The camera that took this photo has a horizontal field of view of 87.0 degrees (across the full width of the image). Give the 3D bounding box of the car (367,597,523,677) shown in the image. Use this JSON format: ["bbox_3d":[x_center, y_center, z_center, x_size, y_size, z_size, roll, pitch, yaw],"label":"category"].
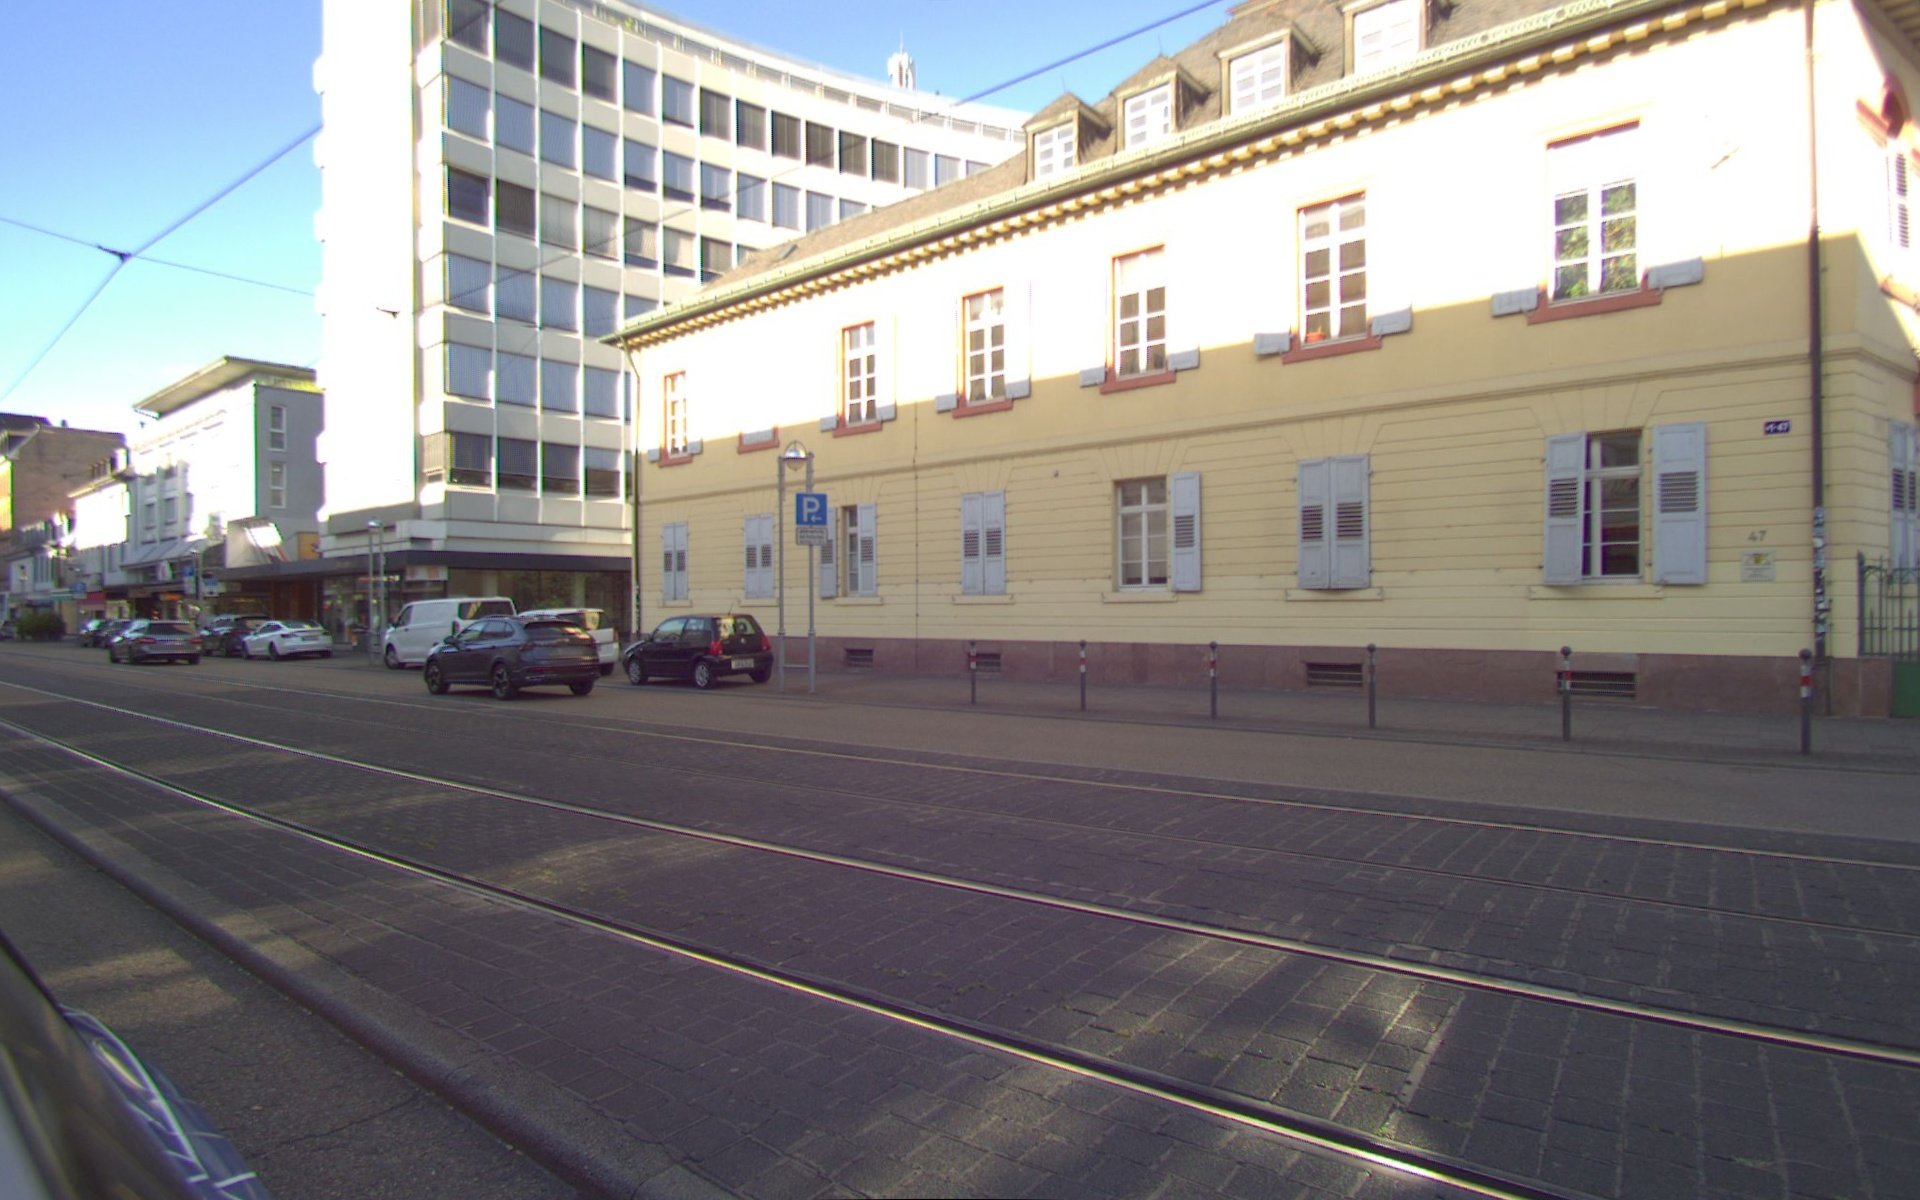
[{"bbox_3d":[-14.555,0.980,28.462,5.091,1.990,1.974,-1,1,39],"label":"car"}]

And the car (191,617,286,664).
[{"bbox_3d":[-28.858,1.557,40.439,4.651,1.691,1.959,-1,1,40],"label":"car"}]

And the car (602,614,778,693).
[{"bbox_3d":[-5.591,1.036,20.810,3.716,1.411,1.598,-1,1,39],"label":"car"}]

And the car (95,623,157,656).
[{"bbox_3d":[-42.546,1.997,51.606,3.583,1.535,1.586,-1,1,37],"label":"car"}]

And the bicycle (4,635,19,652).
[{"bbox_3d":[-64.292,2.948,68.580,1.714,1.098,0.513,-1,1,40],"label":"bicycle"}]

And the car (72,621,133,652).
[{"bbox_3d":[-47.142,1.954,55.622,4.848,1.535,1.720,-1,2,40],"label":"car"}]

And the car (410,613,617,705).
[{"bbox_3d":[-8.495,1.044,19.106,4.273,1.523,1.748,-1,-1,37],"label":"car"}]

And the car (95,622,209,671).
[{"bbox_3d":[-27.177,1.533,33.996,4.923,1.507,1.862,-1,-3,38],"label":"car"}]

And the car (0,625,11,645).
[{"bbox_3d":[-76.572,2.801,79.901,4.758,1.525,1.799,-1,0,39],"label":"car"}]

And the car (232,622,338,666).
[{"bbox_3d":[-24.658,1.560,36.910,4.650,1.431,1.870,-1,1,38],"label":"car"}]

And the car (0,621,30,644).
[{"bbox_3d":[-69.347,2.369,73.875,2.888,1.616,1.680,-1,1,39],"label":"car"}]

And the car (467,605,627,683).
[{"bbox_3d":[-10.277,1.023,25.028,4.647,1.698,1.789,-1,1,42],"label":"car"}]
